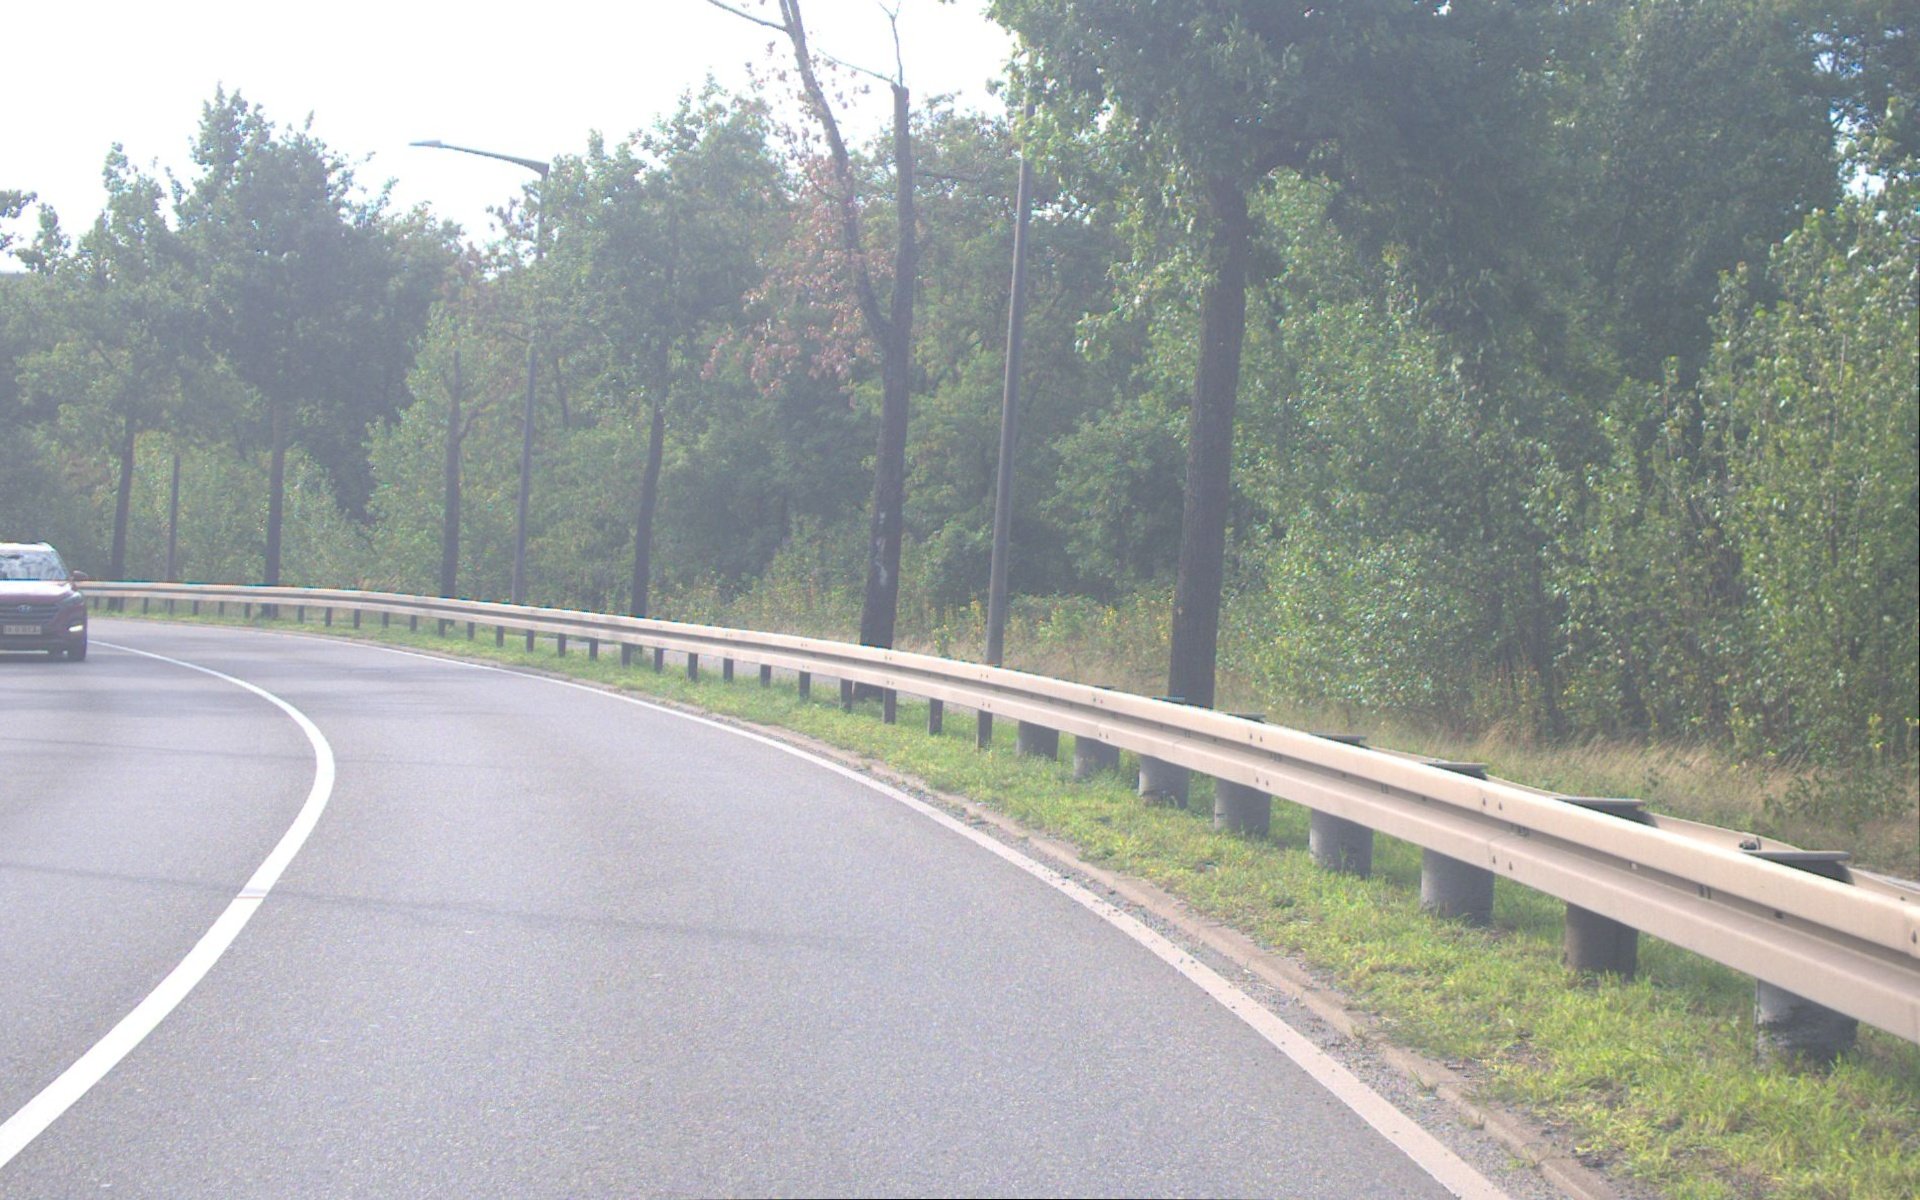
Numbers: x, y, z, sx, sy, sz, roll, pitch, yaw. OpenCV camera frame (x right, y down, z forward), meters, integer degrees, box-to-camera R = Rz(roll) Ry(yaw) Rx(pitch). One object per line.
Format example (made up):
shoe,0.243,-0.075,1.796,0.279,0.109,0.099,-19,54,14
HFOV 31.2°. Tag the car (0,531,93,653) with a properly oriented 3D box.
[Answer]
car,-13.553,-0.145,49.459,1.808,1.668,4.299,1,1,-17
